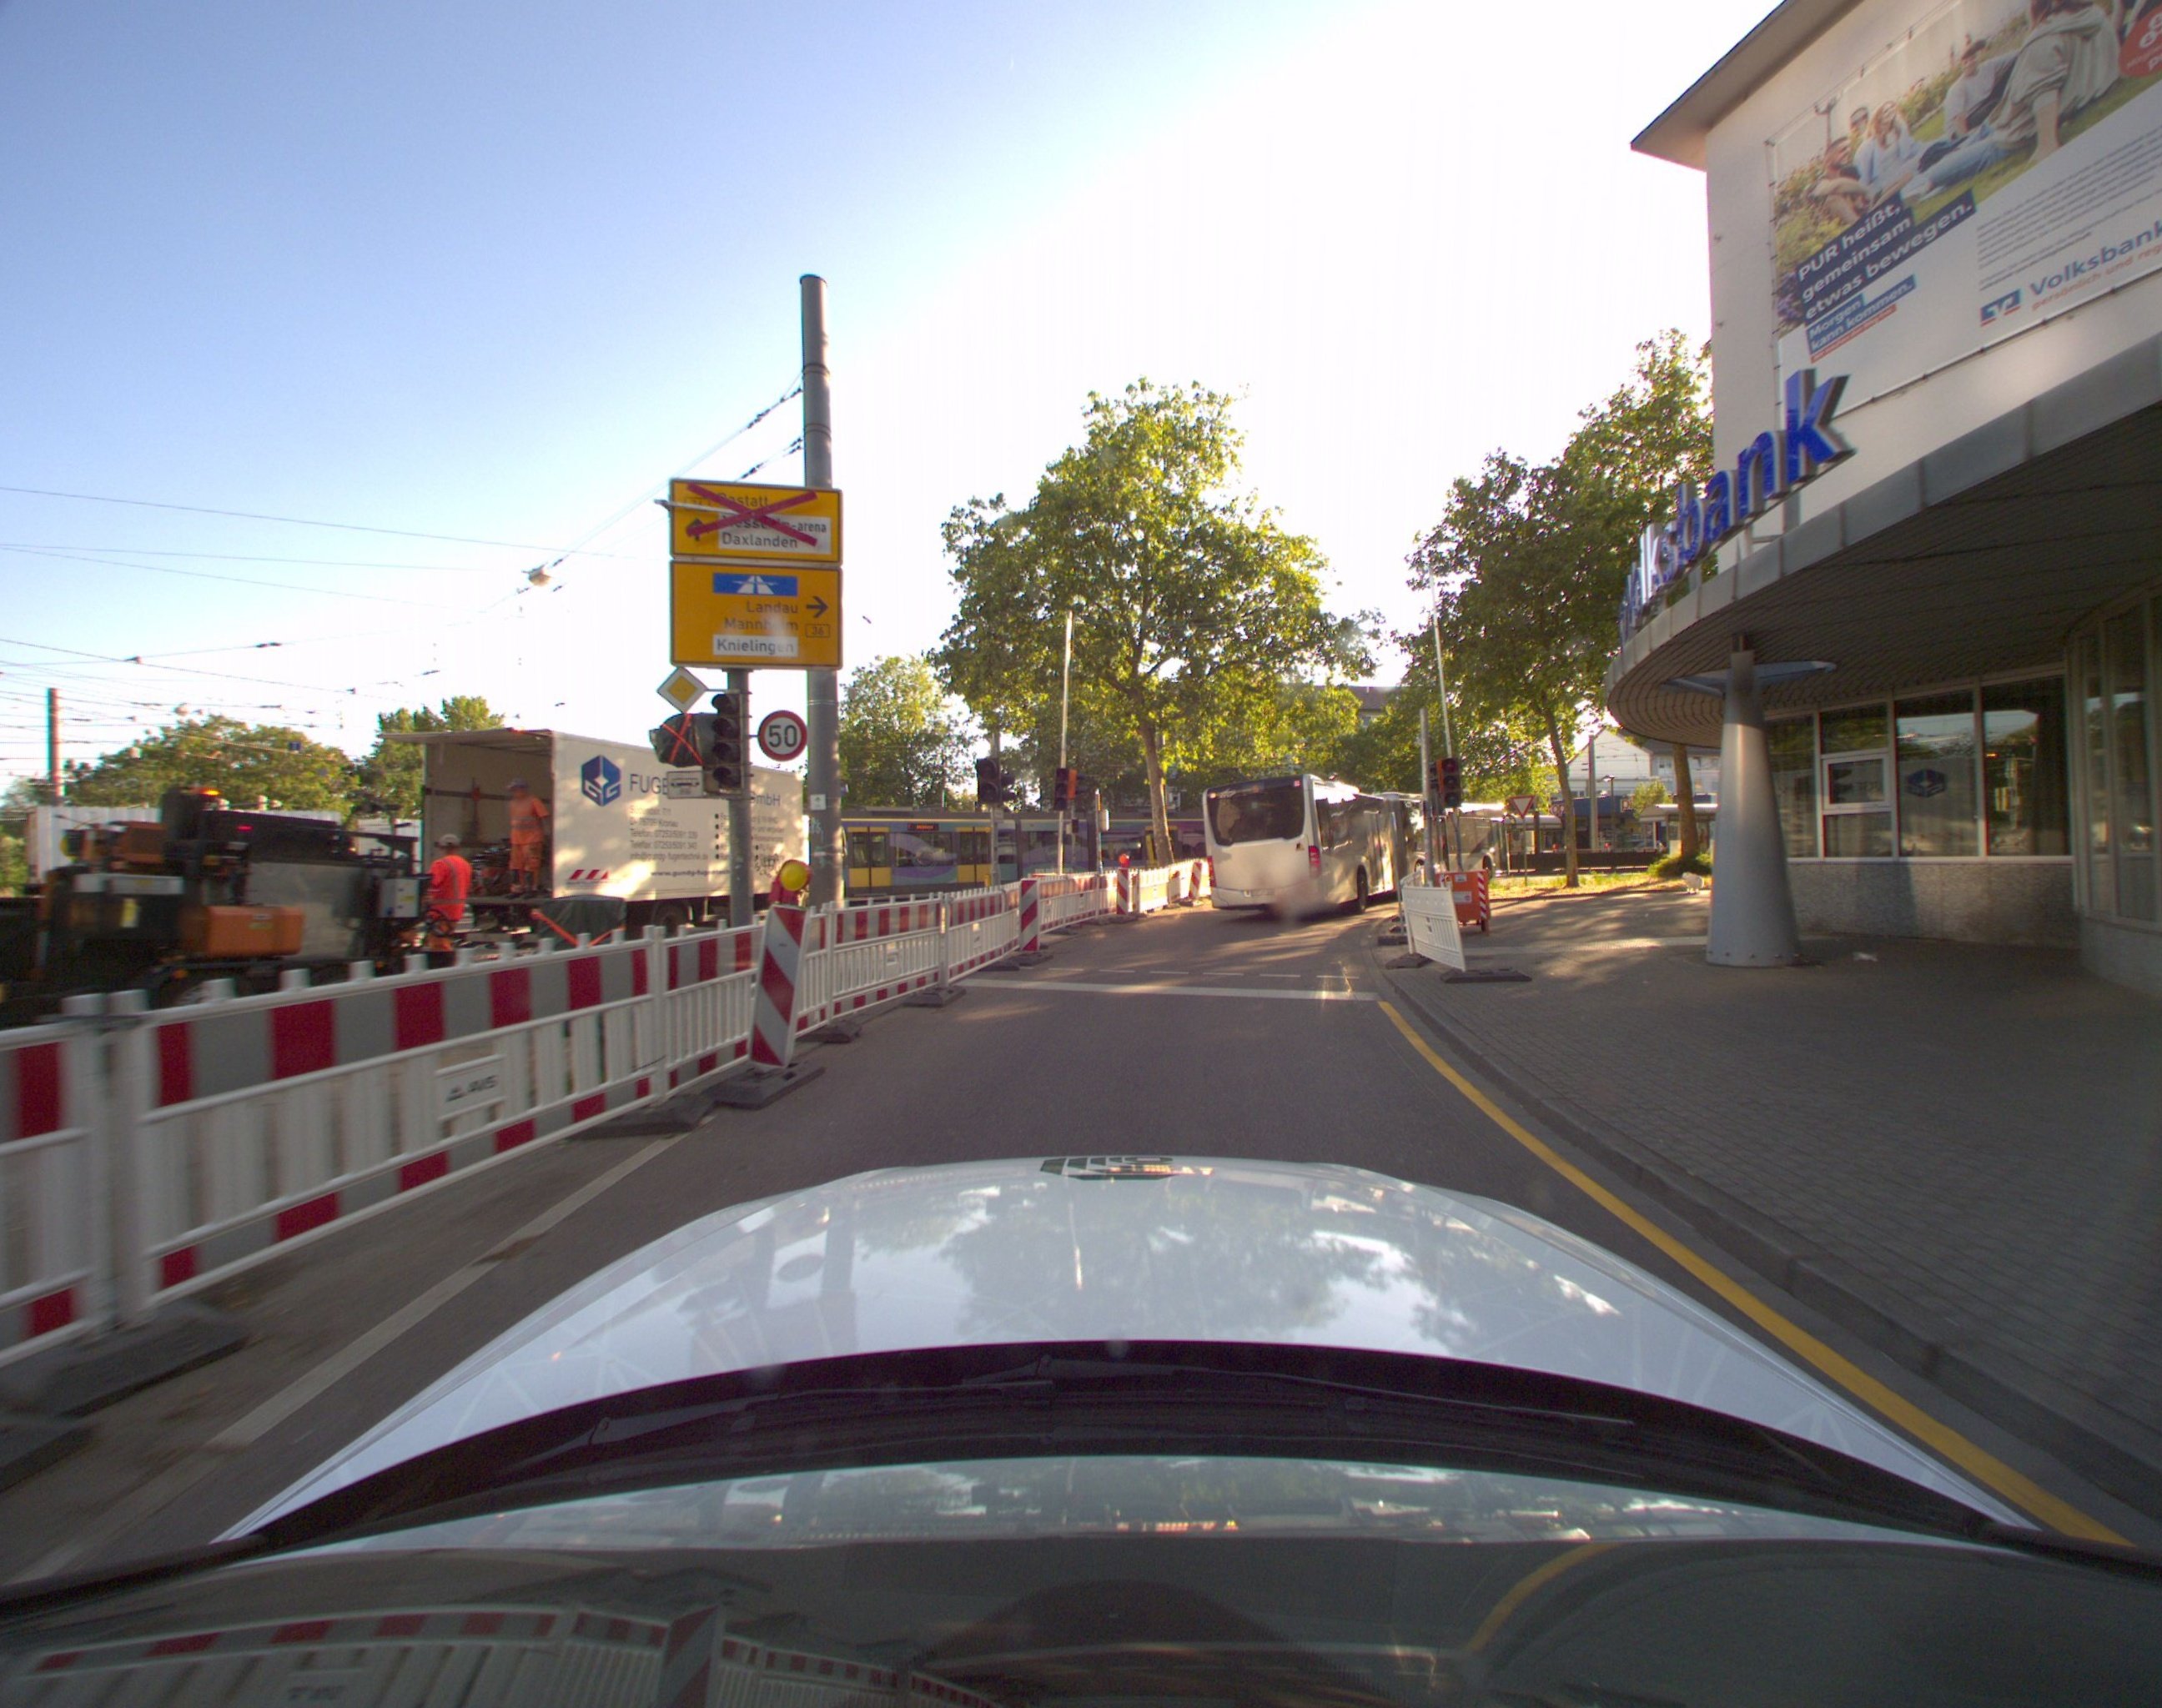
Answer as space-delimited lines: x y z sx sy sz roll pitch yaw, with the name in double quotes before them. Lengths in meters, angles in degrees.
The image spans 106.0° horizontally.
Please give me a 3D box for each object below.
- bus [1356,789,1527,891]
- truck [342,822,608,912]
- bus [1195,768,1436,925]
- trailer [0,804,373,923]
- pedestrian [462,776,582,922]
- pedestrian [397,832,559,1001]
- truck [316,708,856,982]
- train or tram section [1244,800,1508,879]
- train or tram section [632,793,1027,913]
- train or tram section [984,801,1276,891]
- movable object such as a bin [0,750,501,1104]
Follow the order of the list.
"bus" 13.062 -0.533 28.933 2.683 3.107 9.035 -2 0 43
"truck" -28.875 0.527 39.793 2.867 3.790 10.487 -2 0 20
"bus" 6.720 -0.255 21.450 2.707 3.138 10.772 -2 0 35
"trailer" -33.159 0.237 30.721 2.858 3.797 9.306 0 1 34
"pedestrian" -8.120 -0.074 11.878 0.930 2.013 1.005 -1 1 13
"pedestrian" -6.798 0.671 9.246 0.968 1.798 1.071 -1 0 5
"truck" -7.929 -0.129 15.206 2.791 3.541 9.021 -1 0 16
"train or tram section" 14.674 -0.770 40.172 13.323 3.519 2.633 -1 -1 -18
"train or tram section" -8.363 -0.103 29.408 13.460 3.533 2.826 -1 -1 -38
"train or tram section" 2.359 -0.418 35.684 12.793 3.549 2.717 -1 -1 -22
"movable object such as a bin" -7.648 0.460 6.143 1.979 2.256 5.229 0 0 15
